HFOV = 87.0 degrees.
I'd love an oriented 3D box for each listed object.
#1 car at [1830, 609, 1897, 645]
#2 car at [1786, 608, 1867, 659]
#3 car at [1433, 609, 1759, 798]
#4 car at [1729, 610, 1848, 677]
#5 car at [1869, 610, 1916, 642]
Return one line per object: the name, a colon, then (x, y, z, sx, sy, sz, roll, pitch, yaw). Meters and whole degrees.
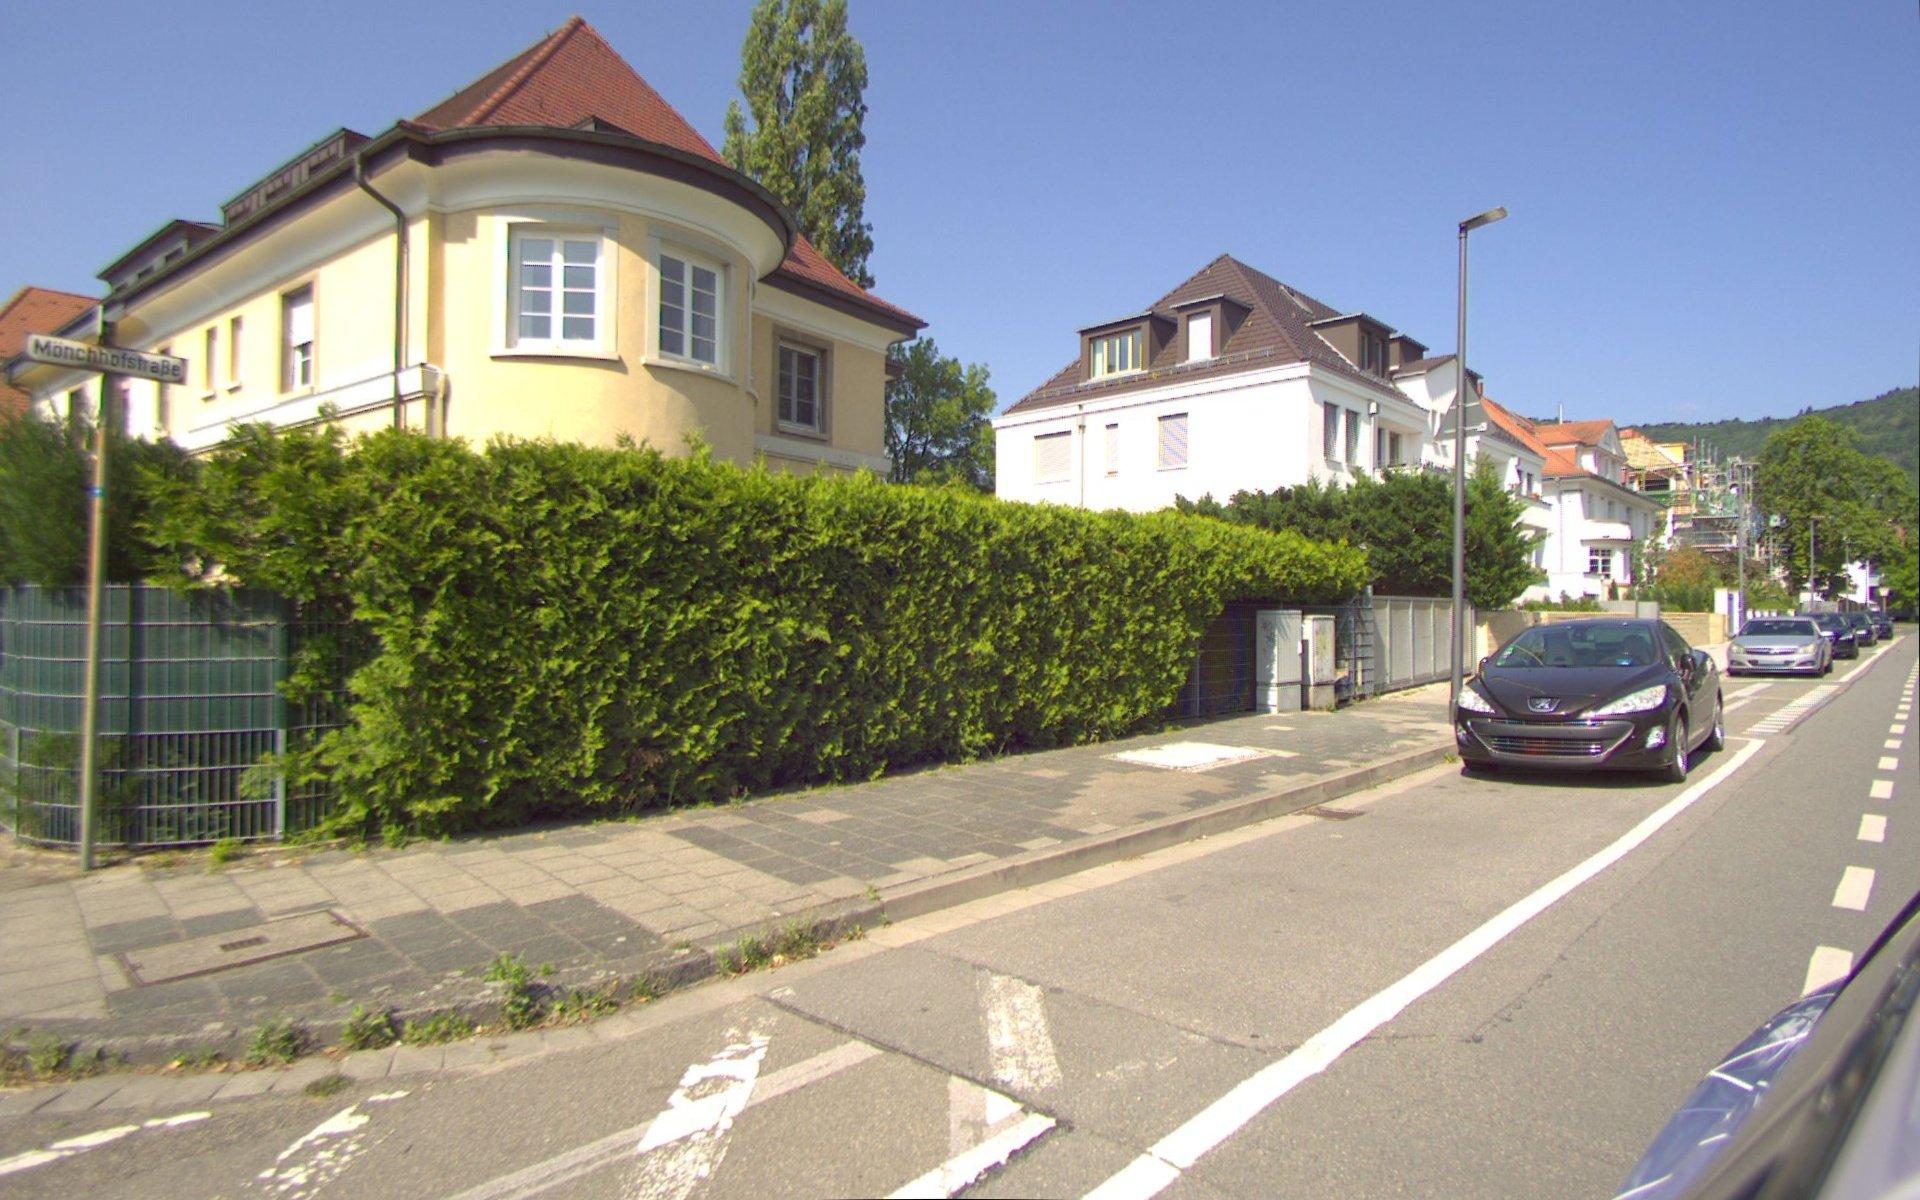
car: (38.614, 1.122, 43.224, 3.929, 1.468, 1.622, 1, -1, -41)
car: (27.404, 1.036, 31.977, 1.721, 1.468, 4.104, -5, -4, 43)
car: (6.485, 0.900, 10.105, 4.273, 1.488, 1.737, 1, -5, -44)
car: (19.396, 0.983, 23.634, 1.736, 1.346, 4.011, -5, -3, 44)
car: (48.671, 1.338, 52.867, 1.695, 1.603, 4.826, -1, -1, 42)
